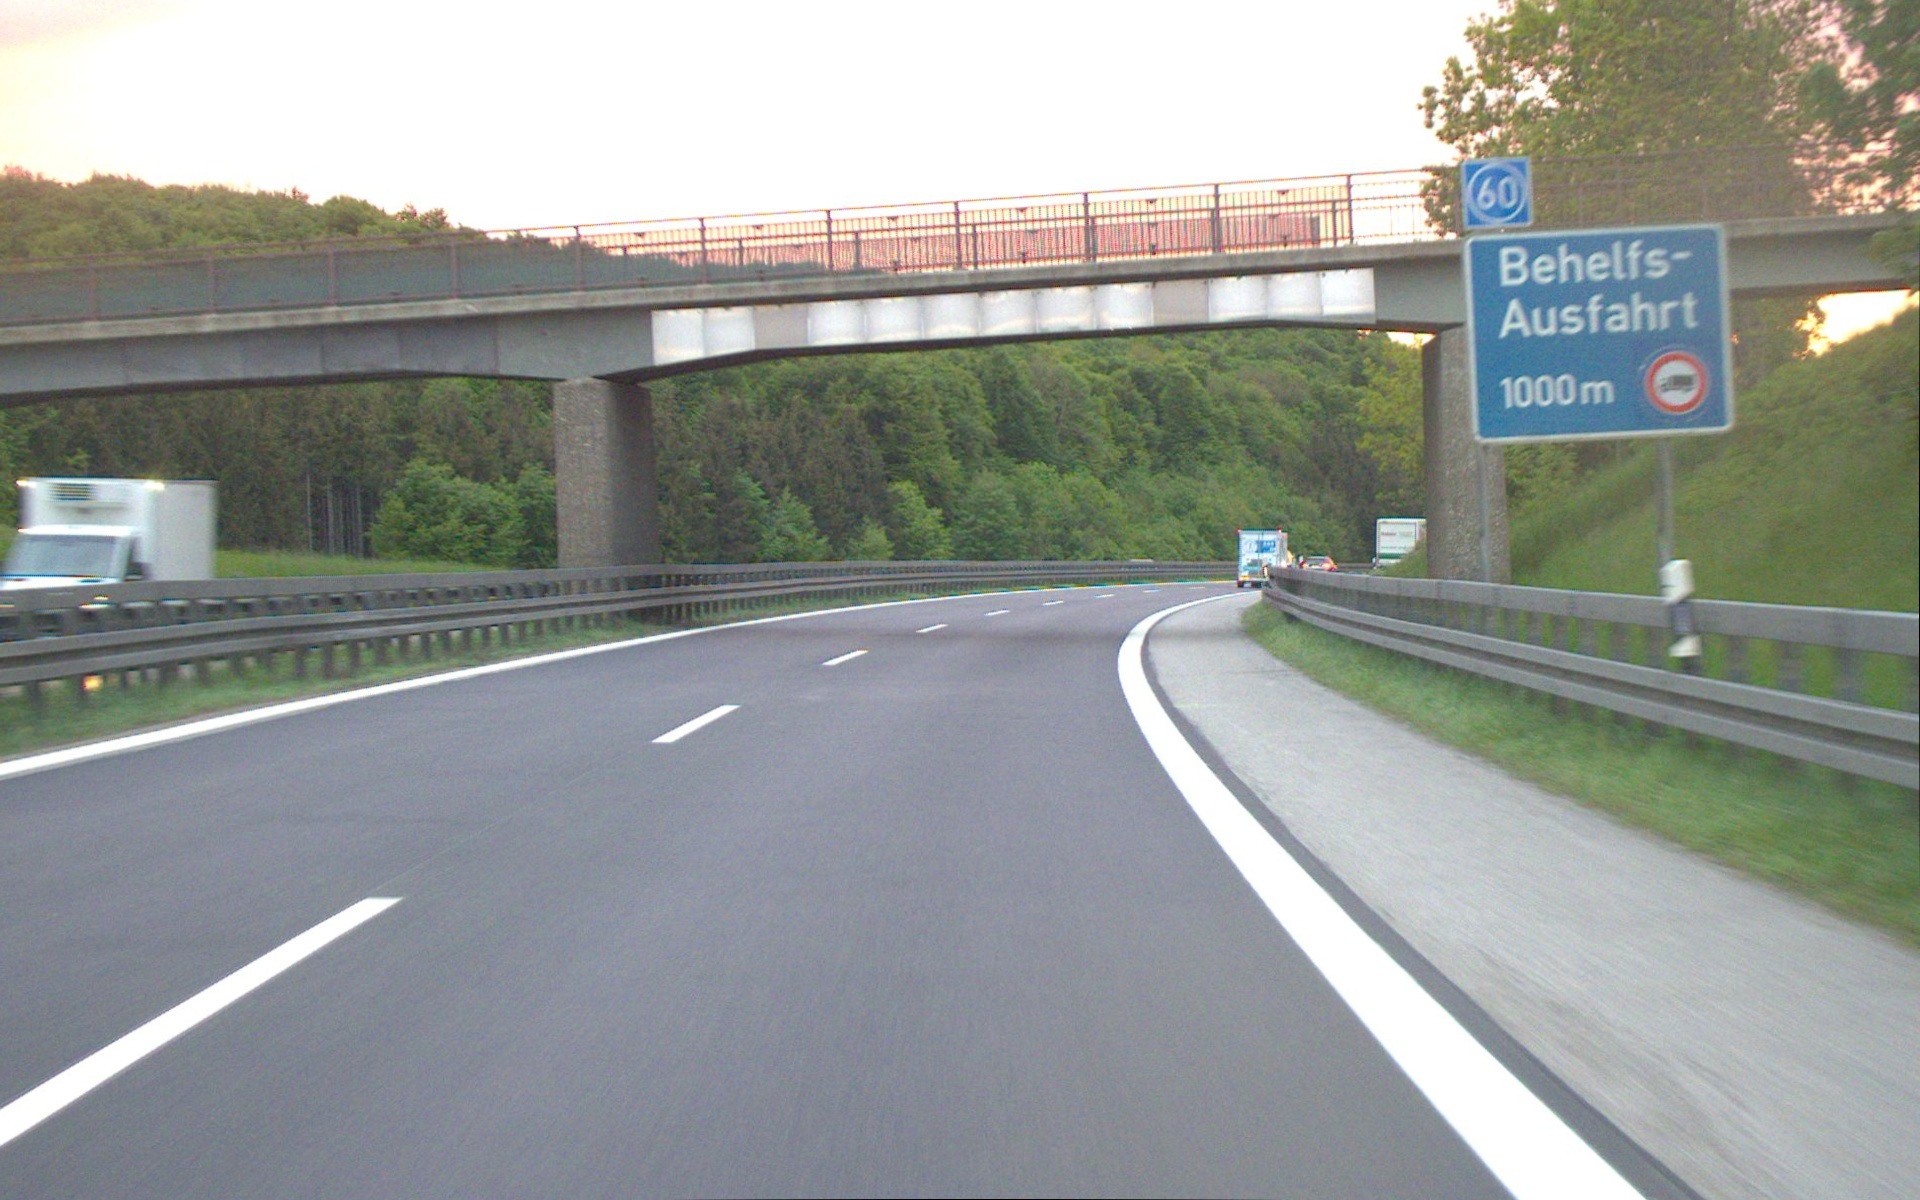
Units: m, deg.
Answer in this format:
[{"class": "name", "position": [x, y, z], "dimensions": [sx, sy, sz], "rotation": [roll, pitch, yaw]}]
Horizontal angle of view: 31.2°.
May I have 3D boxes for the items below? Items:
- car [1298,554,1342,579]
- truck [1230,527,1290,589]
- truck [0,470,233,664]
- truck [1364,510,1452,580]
[{"class": "car", "position": [22.309, -2.096, 212.800], "dimensions": [1.995, 1.512, 3.997], "rotation": [0, 1, 17]}, {"class": "truck", "position": [13.939, -1.976, 159.435], "dimensions": [2.277, 2.656, 5.234], "rotation": [-1, 2, 9]}, {"class": "truck", "position": [-14.584, -0.586, 58.534], "dimensions": [2.612, 3.099, 6.668], "rotation": [1, 1, 3]}, {"class": "truck", "position": [28.940, -3.556, 221.469], "dimensions": [3.960, 4.272, 14.314], "rotation": [0, 1, 14]}]
